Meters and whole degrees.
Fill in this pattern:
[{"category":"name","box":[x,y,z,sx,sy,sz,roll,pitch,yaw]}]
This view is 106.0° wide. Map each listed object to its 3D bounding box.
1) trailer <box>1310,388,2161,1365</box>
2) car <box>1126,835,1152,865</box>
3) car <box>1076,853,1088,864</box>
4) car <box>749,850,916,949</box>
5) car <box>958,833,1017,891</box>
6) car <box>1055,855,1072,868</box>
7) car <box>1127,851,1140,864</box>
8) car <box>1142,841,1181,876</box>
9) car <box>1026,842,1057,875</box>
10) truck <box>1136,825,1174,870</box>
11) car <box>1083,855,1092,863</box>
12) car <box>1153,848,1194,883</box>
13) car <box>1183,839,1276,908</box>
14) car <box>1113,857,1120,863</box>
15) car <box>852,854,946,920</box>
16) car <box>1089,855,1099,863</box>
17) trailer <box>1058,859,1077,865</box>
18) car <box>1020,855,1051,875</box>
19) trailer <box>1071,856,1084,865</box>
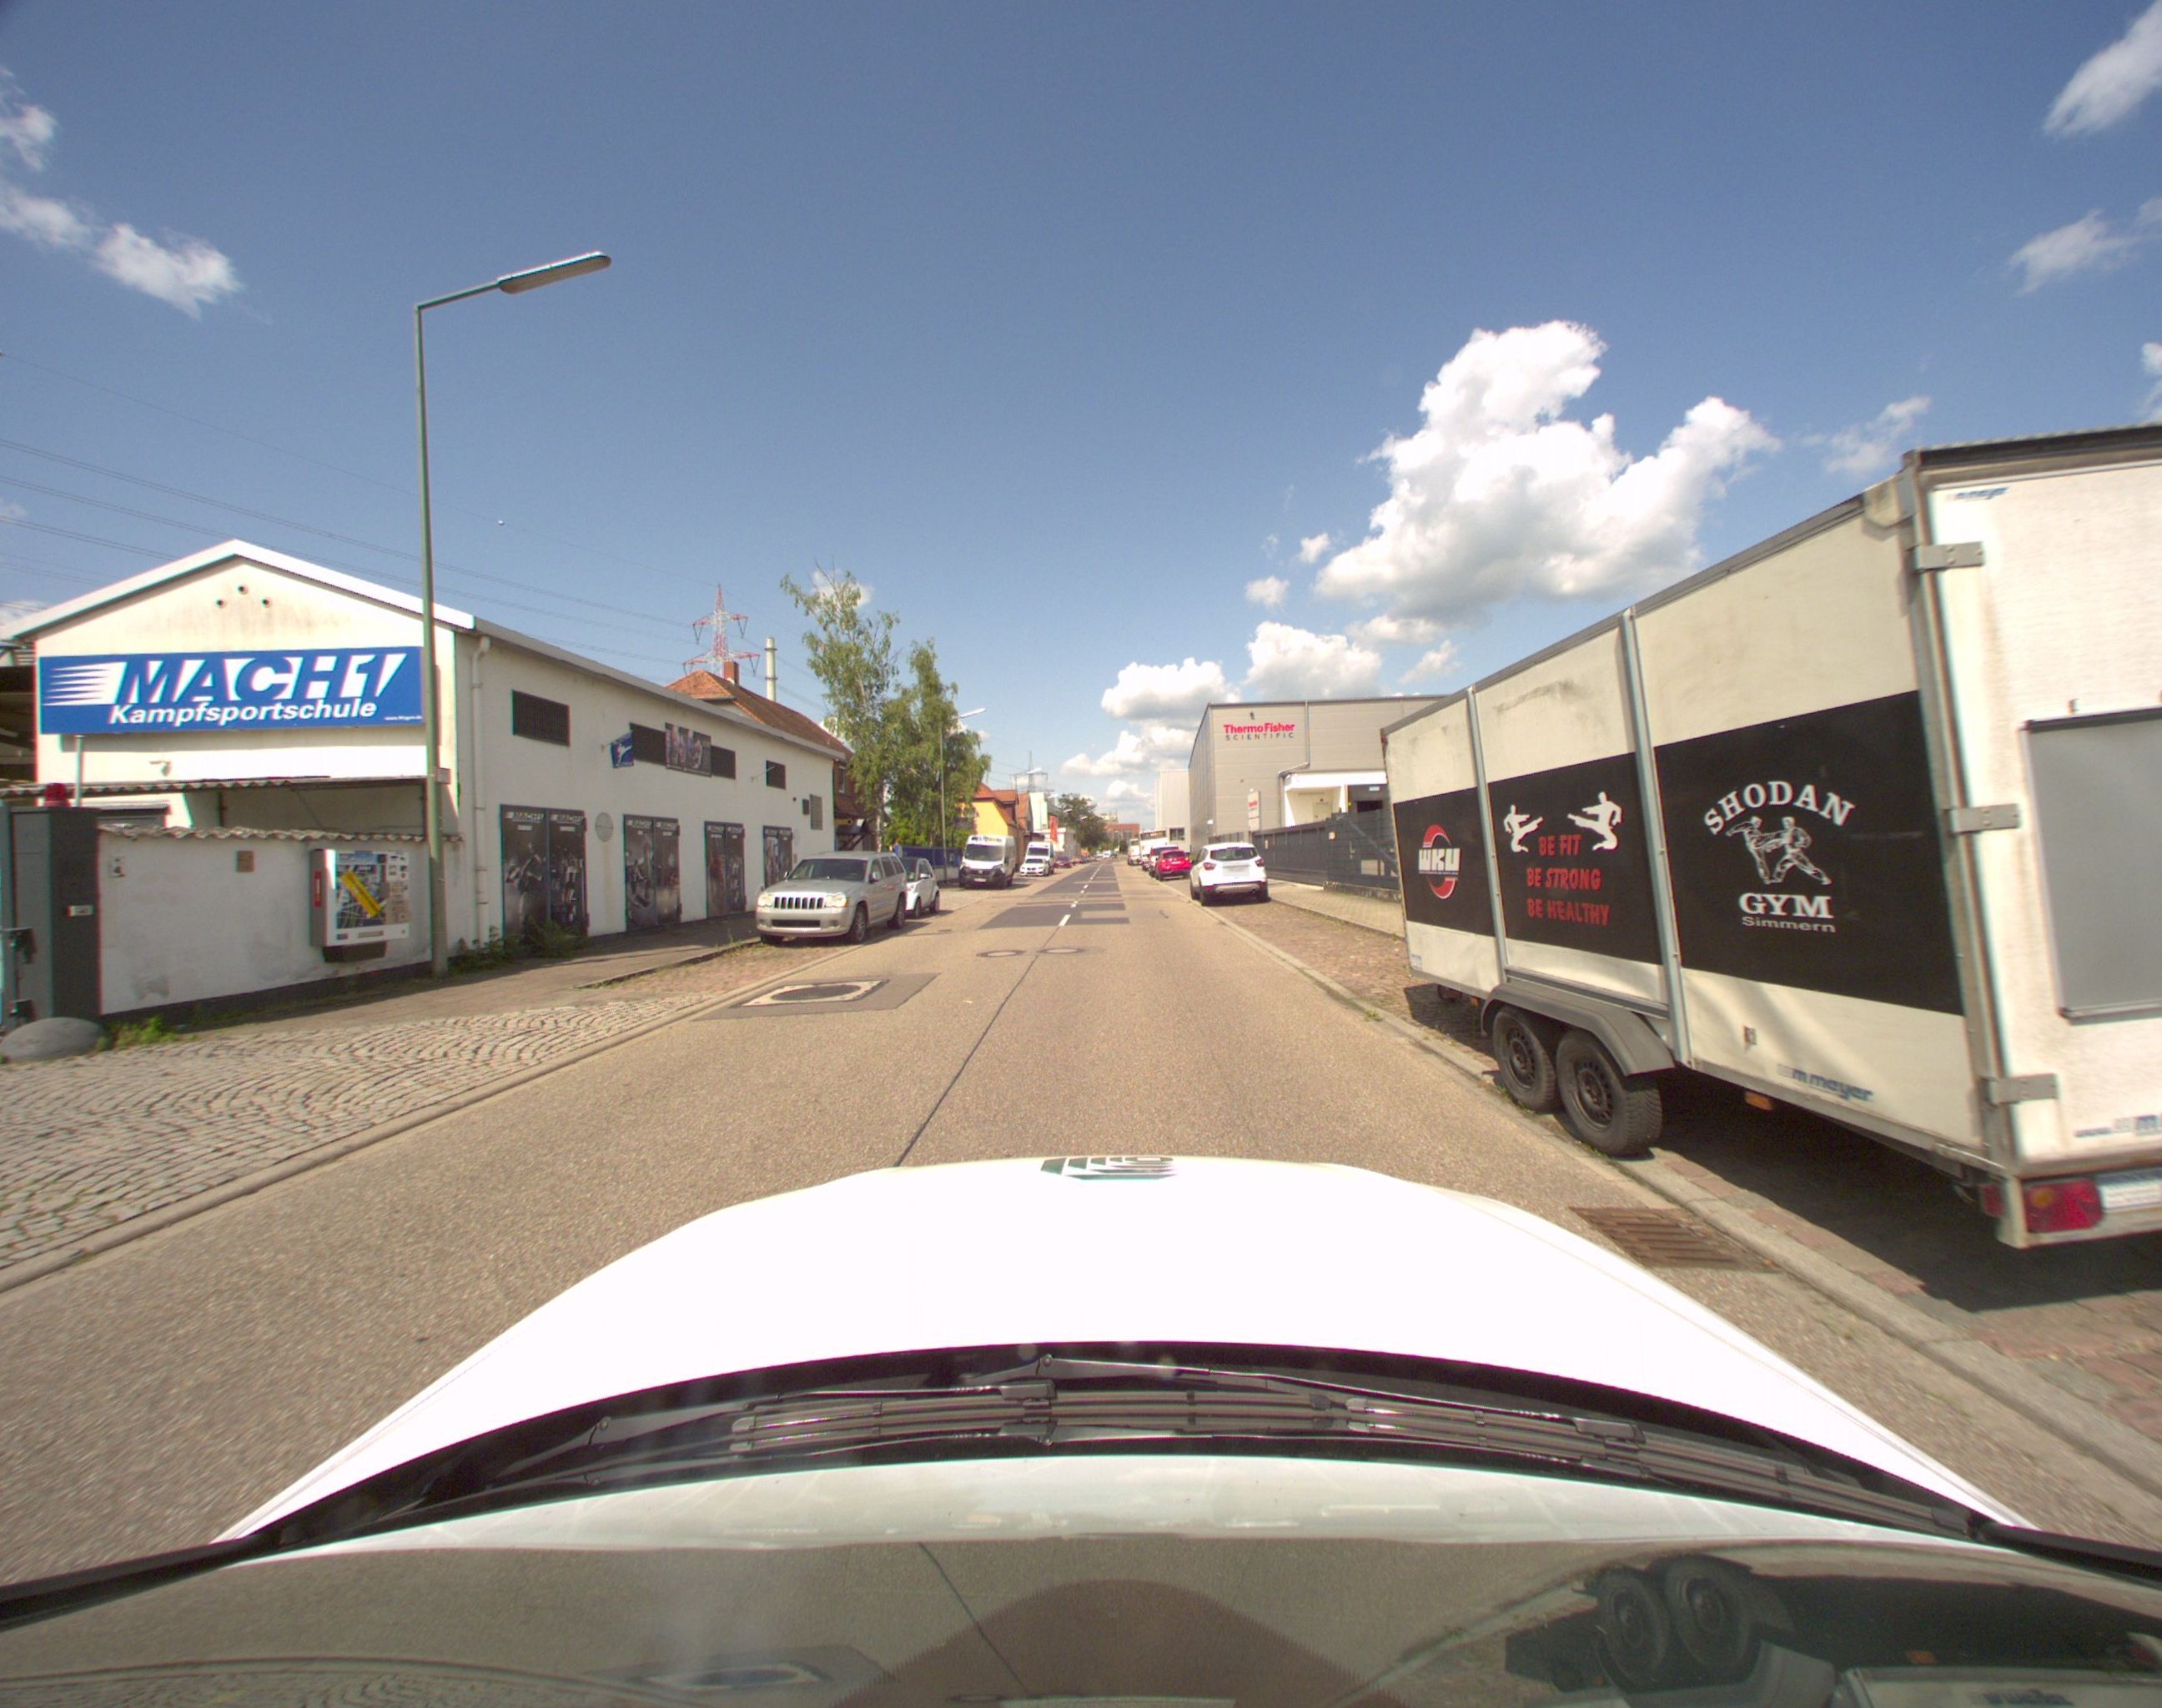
[{"category":"trailer","box":[3.535,0.025,5.437,2.196,2.737,6.223,-5,-1,1]},{"category":"car","box":[6.967,-0.402,99.155,2.381,3.362,6.642,-4,0,-1]},{"category":"car","box":[0.260,0.783,153.636,1.984,2.014,4.005,0,-1,4]},{"category":"car","box":[-4.866,0.801,16.723,1.784,1.719,4.753,1,0,2]},{"category":"car","box":[-4.385,0.375,39.437,2.023,2.557,6.656,0,0,0]},{"category":"car","box":[-2.064,0.908,97.903,1.755,1.447,4.744,0,0,3]},{"category":"car","box":[7.143,0.482,111.402,1.761,1.612,3.876,-2,-1,3]},{"category":"car","box":[4.924,0.249,50.419,2.045,1.903,5.151,-5,0,3]},{"category":"car","box":[-3.184,0.374,66.441,2.019,2.561,6.841,0,0,1]},{"category":"truck","box":[6.101,-0.502,67.917,2.449,3.293,6.822,-6,-1,3]},{"category":"car","box":[1.216,1.024,158.868,1.662,1.447,3.455,0,0,2]},{"category":"car","box":[4.905,0.596,43.487,1.698,1.624,4.093,-5,-1,1]},{"category":"car","box":[4.214,0.513,23.870,1.928,1.693,4.682,-4,0,2]},{"category":"car","box":[9.310,1.593,213.605,1.910,1.285,3.618,-2,0,3]},{"category":"car","box":[-4.754,0.821,21.678,1.602,1.574,3.012,2,0,4]},{"category":"car","box":[2.779,1.060,176.727,1.913,1.794,4.005,0,0,4]},{"category":"trailer","box":[-1.894,1.122,116.809,2.353,0.893,5.571,0,0,2]},{"category":"car","box":[-3.263,0.774,59.174,1.788,1.397,4.505,0,0,3]},{"category":"trailer","box":[-0.532,1.113,138.026,1.986,1.556,4.255,-1,0,2]}]
